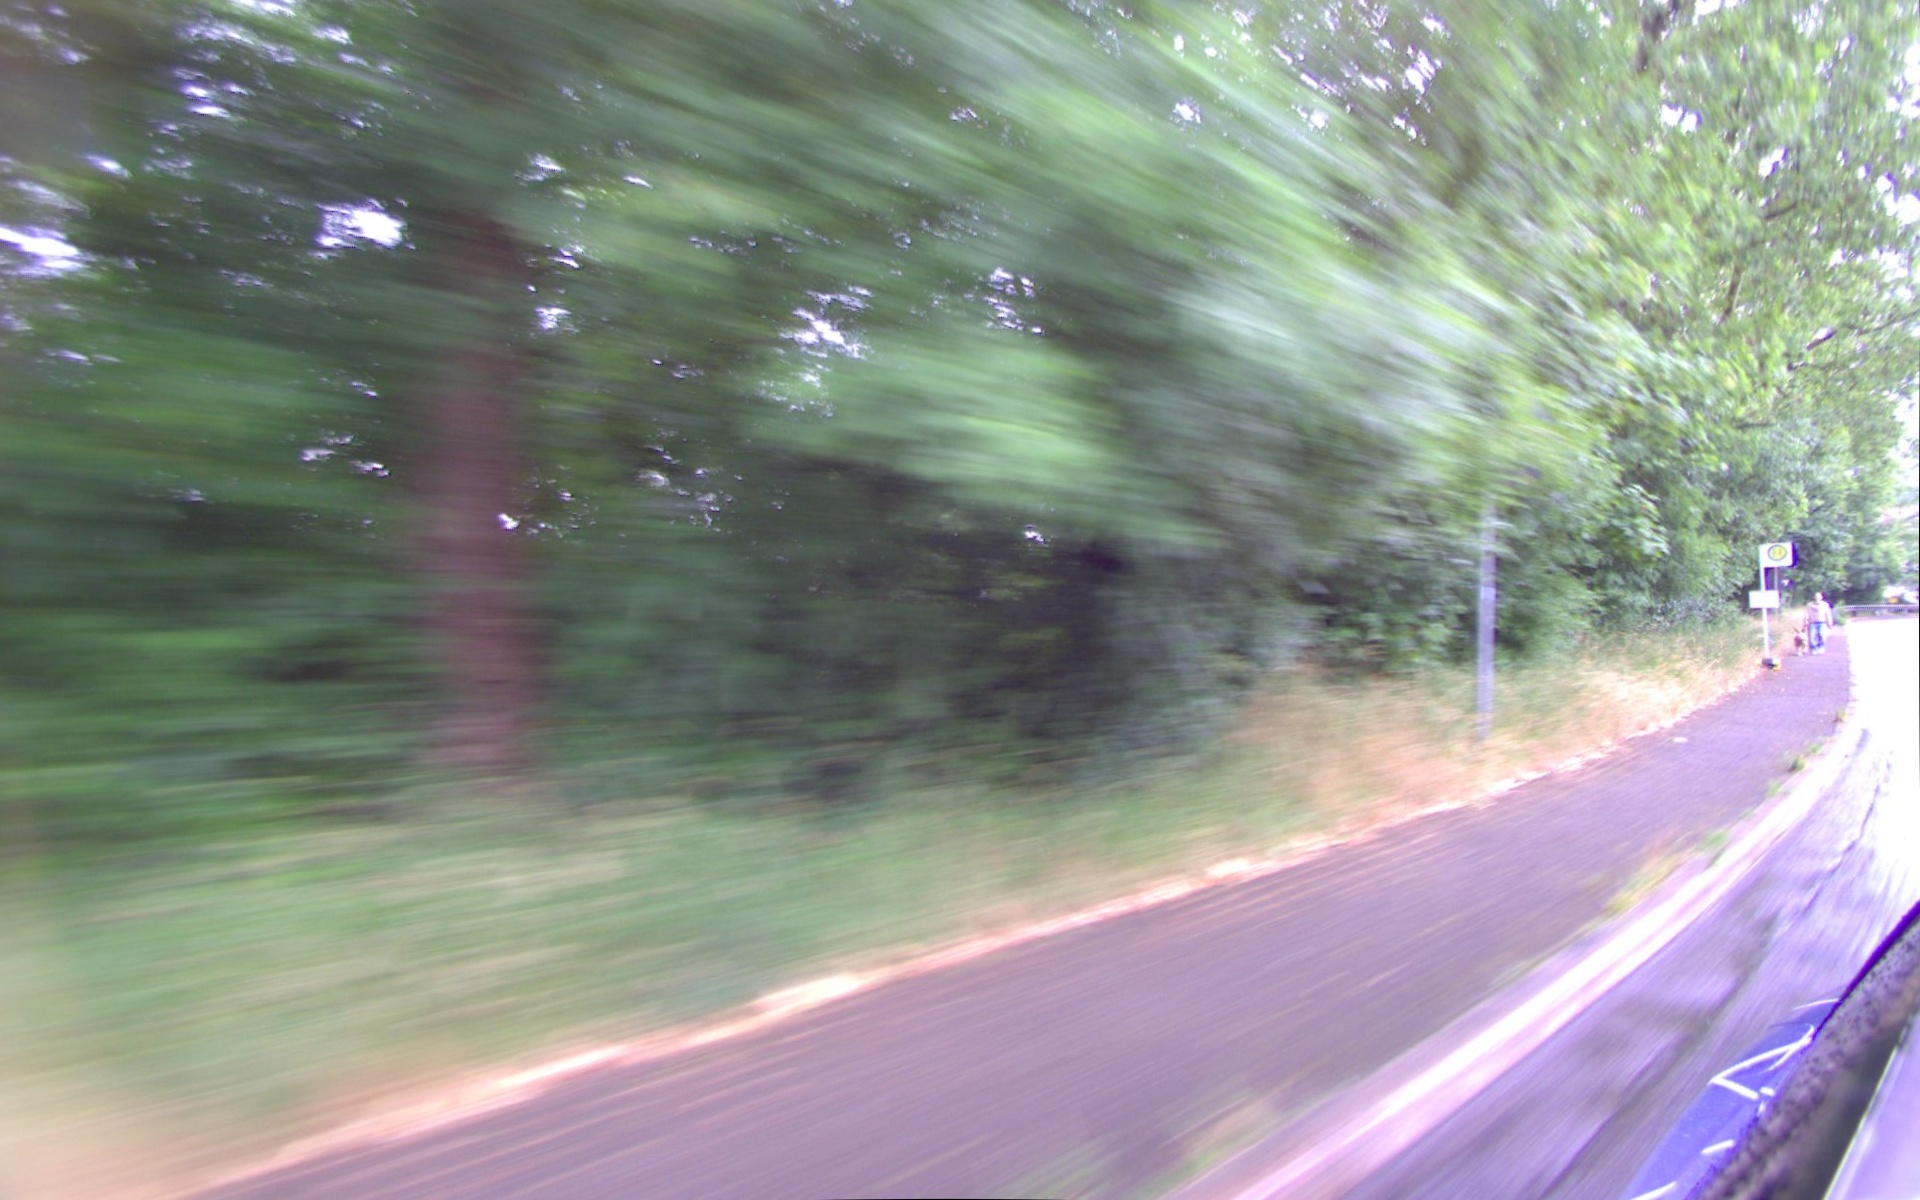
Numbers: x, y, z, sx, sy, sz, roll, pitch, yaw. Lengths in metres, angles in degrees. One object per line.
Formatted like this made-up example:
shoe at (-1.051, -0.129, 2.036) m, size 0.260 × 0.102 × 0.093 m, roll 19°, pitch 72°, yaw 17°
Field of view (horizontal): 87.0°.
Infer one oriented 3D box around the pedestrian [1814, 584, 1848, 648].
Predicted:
pedestrian at (22.679, 0.402, 26.351) m, size 0.641 × 1.631 × 0.660 m, roll 2°, pitch 2°, yaw 41°
